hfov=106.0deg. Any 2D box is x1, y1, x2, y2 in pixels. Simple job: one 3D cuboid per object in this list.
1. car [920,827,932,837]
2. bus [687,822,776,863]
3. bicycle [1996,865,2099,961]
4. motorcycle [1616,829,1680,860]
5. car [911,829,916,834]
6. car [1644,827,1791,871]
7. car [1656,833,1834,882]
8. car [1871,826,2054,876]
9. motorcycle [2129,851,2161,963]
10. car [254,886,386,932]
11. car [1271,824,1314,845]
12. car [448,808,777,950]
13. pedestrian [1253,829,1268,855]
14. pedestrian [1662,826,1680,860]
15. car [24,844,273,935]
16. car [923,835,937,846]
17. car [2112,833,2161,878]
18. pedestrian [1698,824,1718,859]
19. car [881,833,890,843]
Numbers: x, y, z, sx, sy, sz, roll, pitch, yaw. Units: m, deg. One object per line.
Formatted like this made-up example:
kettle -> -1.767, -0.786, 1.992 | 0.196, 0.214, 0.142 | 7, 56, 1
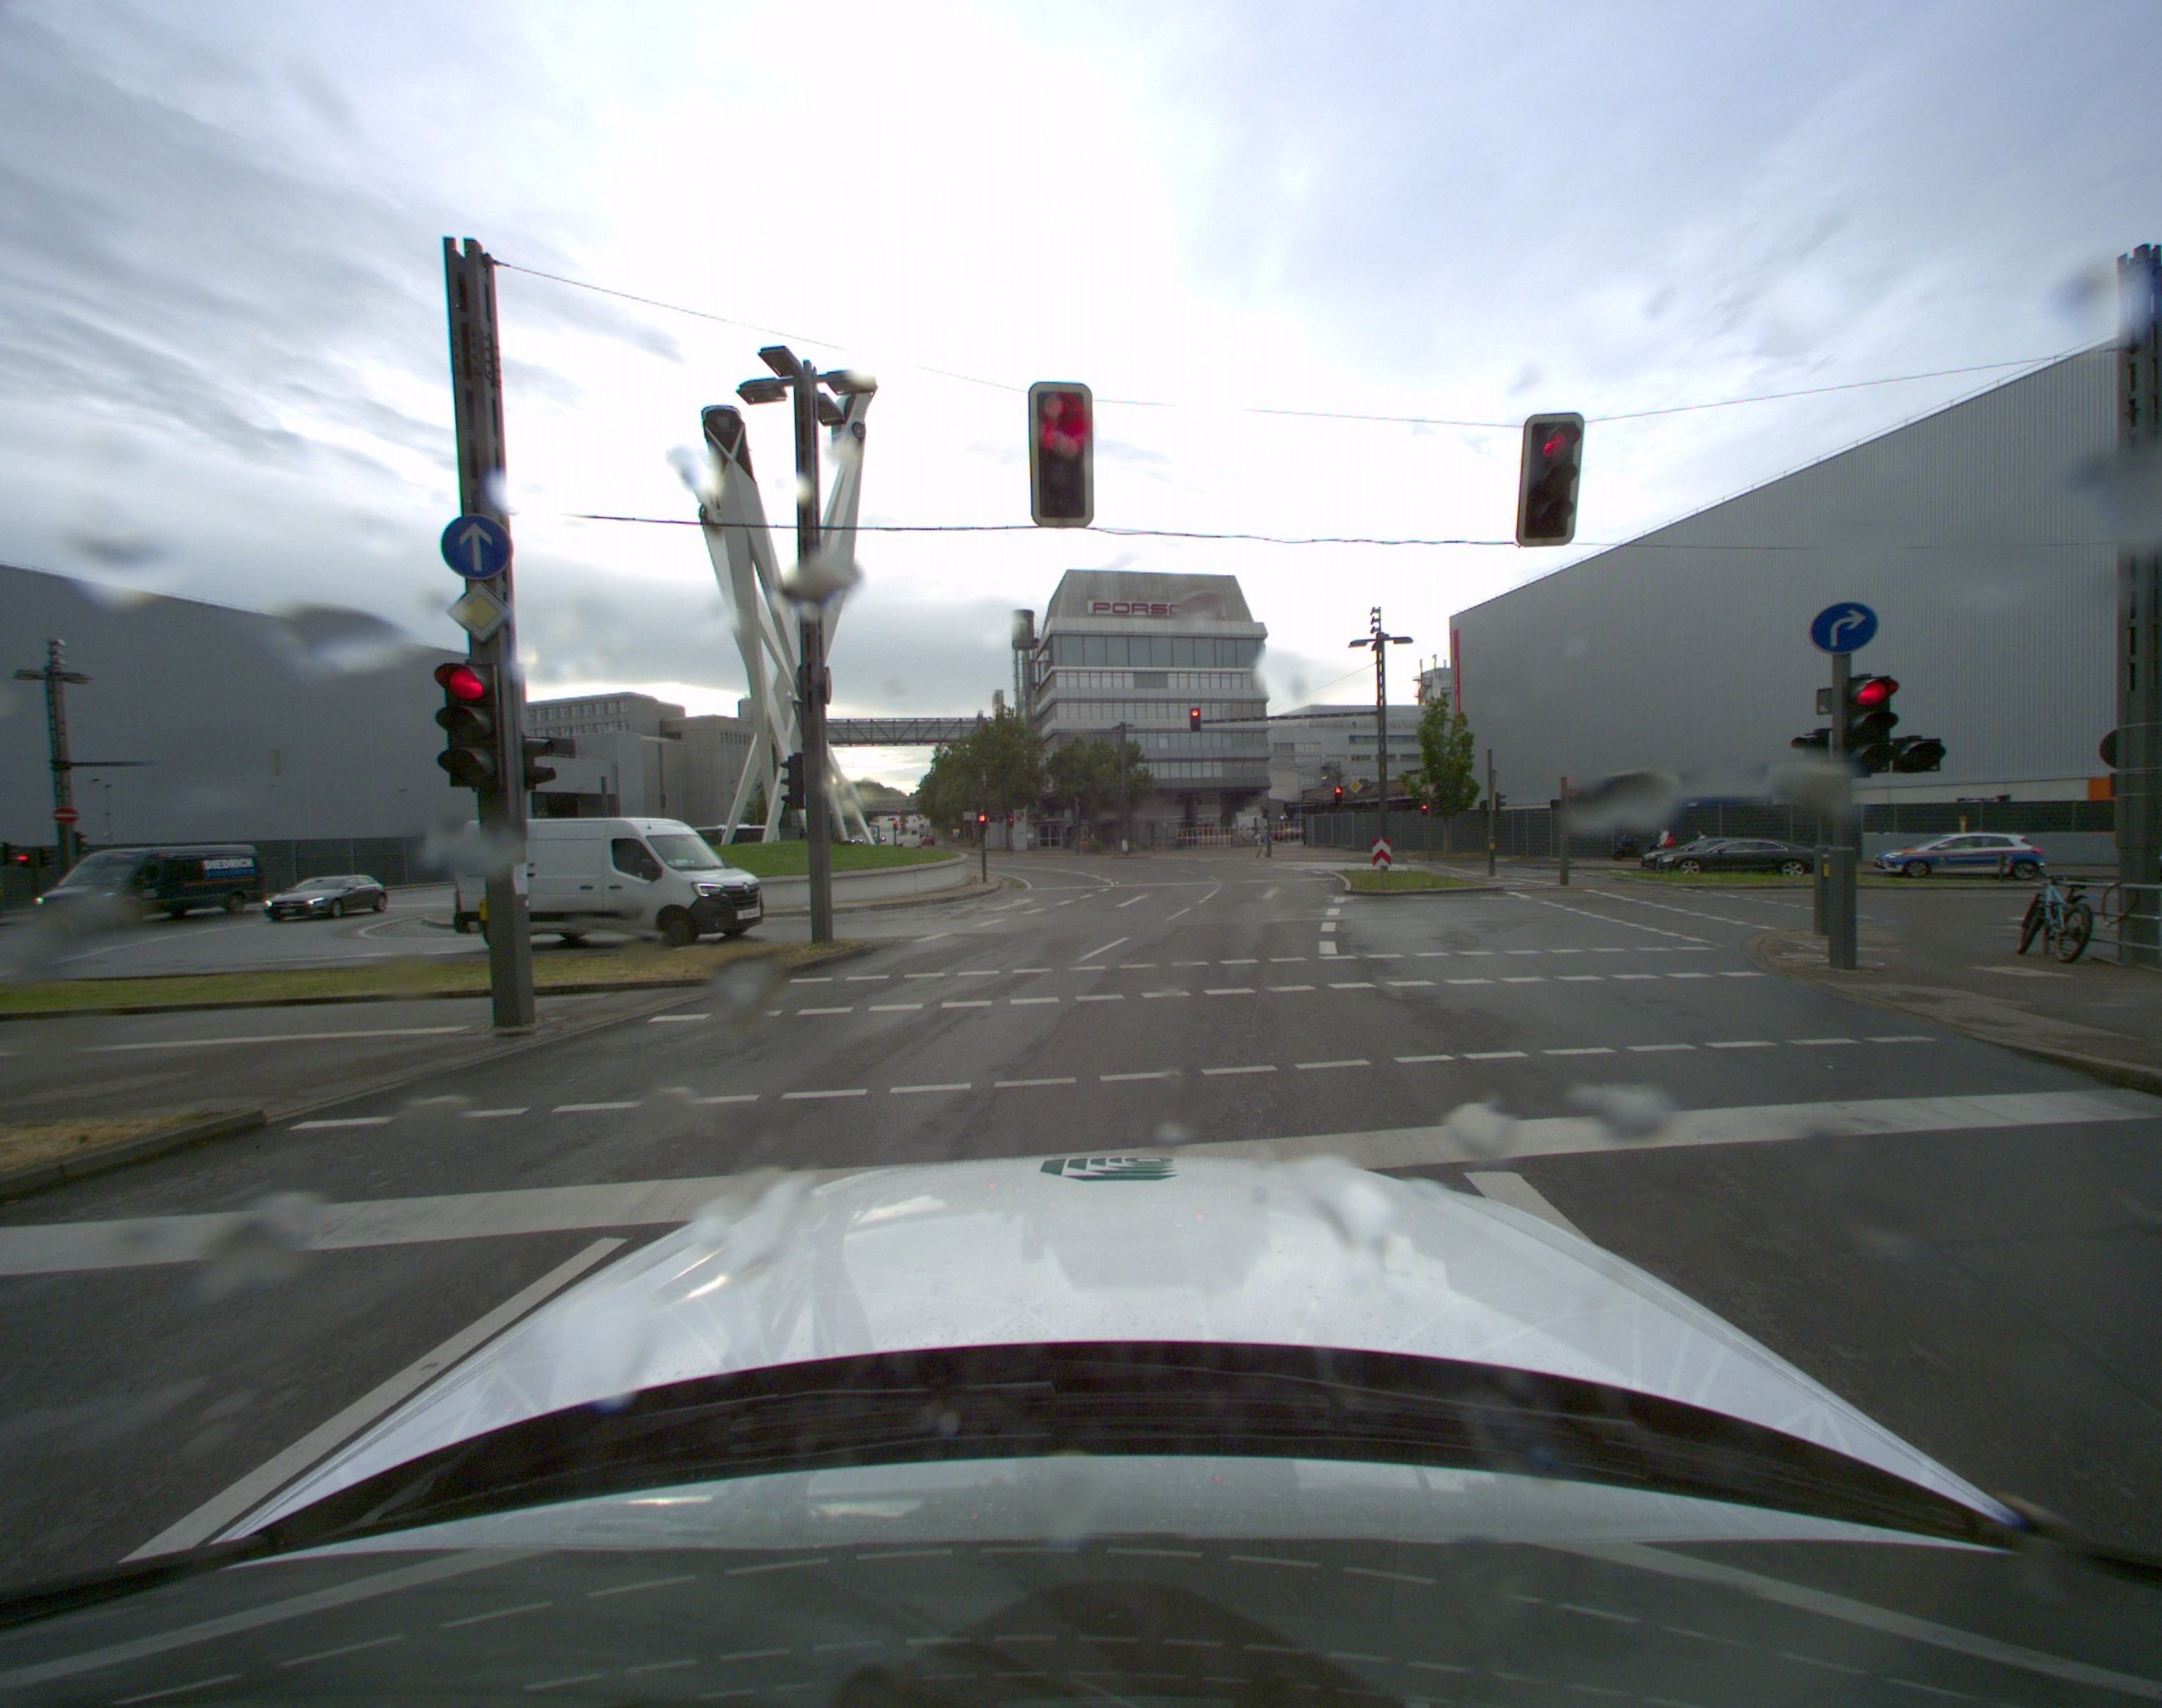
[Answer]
car -> -36.488, -5.072, 191.763 | 2.231, 2.108, 4.942 | -2, -1, -7
bus -> -30.599, -0.967, 72.199 | 2.661, 3.200, 12.661 | -1, 0, -1
bicycle -> 12.434, 0.718, 10.518 | 0.381, 1.098, 1.762 | -2, 0, 35
motorcycle -> 25.688, -0.407, 36.944 | 2.330, 1.344, 0.657 | -1, 0, 30
car -> -46.617, -6.277, 226.633 | 1.558, 1.288, 3.399 | -2, -1, -12
car -> 24.078, -0.216, 31.026 | 4.244, 1.539, 1.769 | 0, 2, 31
car -> 22.626, 0.085, 28.004 | 4.525, 1.539, 1.769 | 0, 2, 31
car -> 30.223, -0.113, 28.114 | 3.930, 1.601, 1.924 | 0, 1, 31
motorcycle -> 15.133, 0.673, 10.373 | 2.213, 1.452, 0.759 | -1, 0, 12
car -> -27.015, 1.901, 29.091 | 1.642, 1.338, 4.054 | -2, 0, -14
car -> 21.367, -1.976, 82.122 | 1.975, 1.969, 4.924 | -2, 1, 44
car -> -9.003, 0.474, 15.867 | 5.377, 2.447, 2.005 | -2, 0, 8
pedestrian -> 11.408, -0.768, 51.684 | 0.801, 1.611, 0.773 | -2, -1, 19
pedestrian -> 25.945, -0.494, 35.788 | 0.605, 1.481, 0.426 | -1, 0, 37
car -> -32.993, 1.111, 29.312 | 1.968, 2.820, 7.098 | -2, 0, -12
car -> -21.549, -1.955, 116.169 | 1.774, 1.464, 3.716 | -2, -1, -12
car -> 35.300, 0.033, 25.121 | 3.949, 1.392, 1.769 | 0, 2, 31
pedestrian -> 26.639, -0.519, 34.607 | 0.642, 1.481, 0.442 | -1, 0, 35
car -> -36.245, -3.026, 151.003 | 1.629, 1.816, 3.717 | -1, 1, -13
